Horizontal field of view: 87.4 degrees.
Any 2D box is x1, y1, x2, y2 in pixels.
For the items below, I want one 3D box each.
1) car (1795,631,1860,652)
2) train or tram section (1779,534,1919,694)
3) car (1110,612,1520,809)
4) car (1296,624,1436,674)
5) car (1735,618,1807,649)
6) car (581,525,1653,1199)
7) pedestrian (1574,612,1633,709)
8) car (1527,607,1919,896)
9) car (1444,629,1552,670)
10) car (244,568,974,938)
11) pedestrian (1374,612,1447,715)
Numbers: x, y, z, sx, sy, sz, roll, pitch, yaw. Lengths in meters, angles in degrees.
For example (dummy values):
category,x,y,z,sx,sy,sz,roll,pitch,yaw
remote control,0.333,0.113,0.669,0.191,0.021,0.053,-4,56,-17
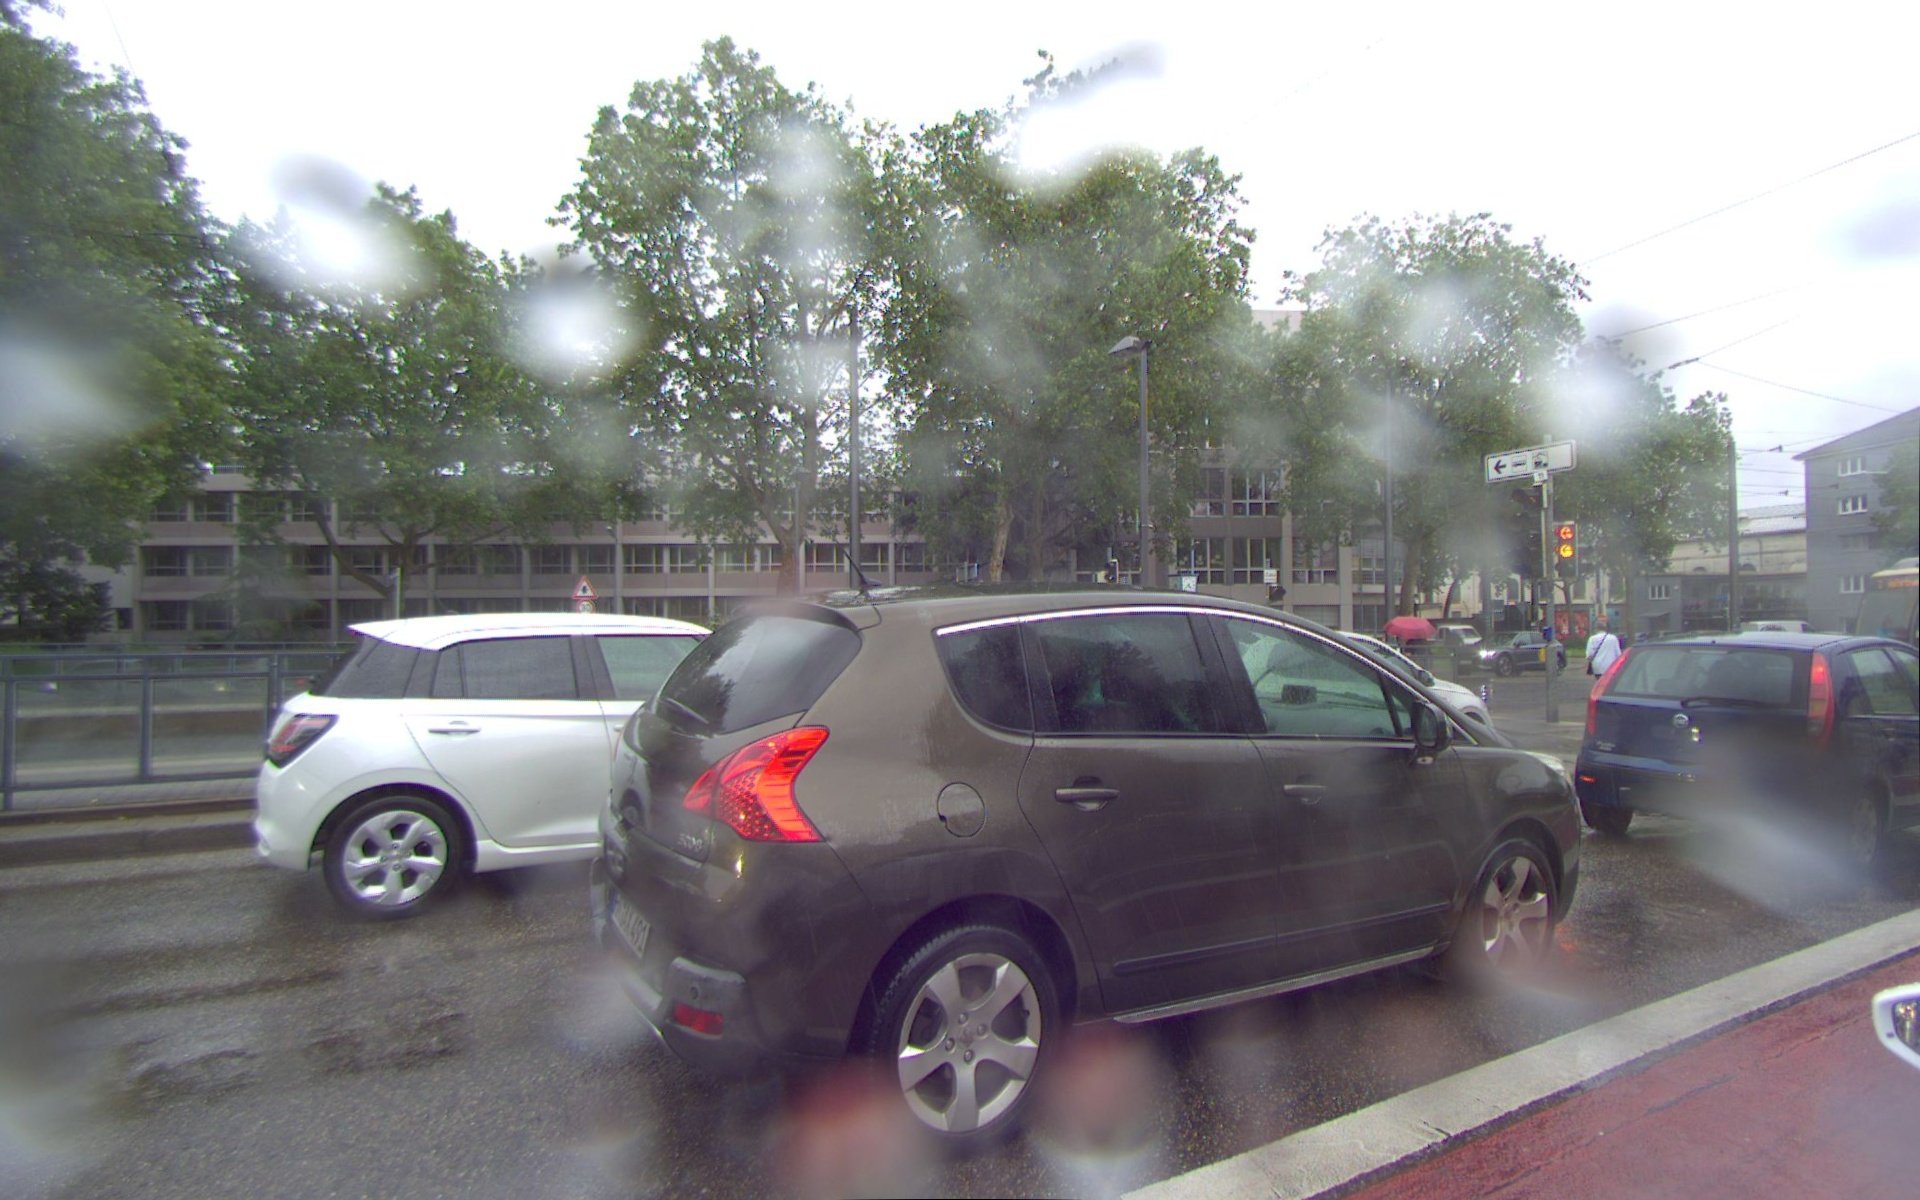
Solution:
category,x,y,z,sx,sy,sz,roll,pitch,yaw
car,61.115,2.911,70.816,3.336,1.467,1.535,0,0,-3
train or tram section,27.663,0.491,23.291,13.381,3.559,3.526,2,0,9
car,3.392,0.912,9.462,3.737,1.514,1.621,1,-1,-30
car,11.589,1.396,28.690,3.466,1.331,1.594,1,-1,-16
car,59.316,2.426,73.486,4.024,2.161,1.642,1,0,-3
car,0.781,0.721,4.121,4.124,1.690,1.825,1,-1,-30
pedestrian,11.182,1.031,17.453,0.735,1.628,0.620,1,0,-37
car,6.060,0.890,7.301,3.776,1.599,1.719,1,-1,-30
car,19.648,1.791,36.653,3.953,1.405,1.637,2,-1,-30
car,-1.953,0.738,6.168,3.791,1.650,1.637,1,-2,-30
pedestrian,8.036,1.118,17.917,0.888,1.769,0.762,0,-3,-30
